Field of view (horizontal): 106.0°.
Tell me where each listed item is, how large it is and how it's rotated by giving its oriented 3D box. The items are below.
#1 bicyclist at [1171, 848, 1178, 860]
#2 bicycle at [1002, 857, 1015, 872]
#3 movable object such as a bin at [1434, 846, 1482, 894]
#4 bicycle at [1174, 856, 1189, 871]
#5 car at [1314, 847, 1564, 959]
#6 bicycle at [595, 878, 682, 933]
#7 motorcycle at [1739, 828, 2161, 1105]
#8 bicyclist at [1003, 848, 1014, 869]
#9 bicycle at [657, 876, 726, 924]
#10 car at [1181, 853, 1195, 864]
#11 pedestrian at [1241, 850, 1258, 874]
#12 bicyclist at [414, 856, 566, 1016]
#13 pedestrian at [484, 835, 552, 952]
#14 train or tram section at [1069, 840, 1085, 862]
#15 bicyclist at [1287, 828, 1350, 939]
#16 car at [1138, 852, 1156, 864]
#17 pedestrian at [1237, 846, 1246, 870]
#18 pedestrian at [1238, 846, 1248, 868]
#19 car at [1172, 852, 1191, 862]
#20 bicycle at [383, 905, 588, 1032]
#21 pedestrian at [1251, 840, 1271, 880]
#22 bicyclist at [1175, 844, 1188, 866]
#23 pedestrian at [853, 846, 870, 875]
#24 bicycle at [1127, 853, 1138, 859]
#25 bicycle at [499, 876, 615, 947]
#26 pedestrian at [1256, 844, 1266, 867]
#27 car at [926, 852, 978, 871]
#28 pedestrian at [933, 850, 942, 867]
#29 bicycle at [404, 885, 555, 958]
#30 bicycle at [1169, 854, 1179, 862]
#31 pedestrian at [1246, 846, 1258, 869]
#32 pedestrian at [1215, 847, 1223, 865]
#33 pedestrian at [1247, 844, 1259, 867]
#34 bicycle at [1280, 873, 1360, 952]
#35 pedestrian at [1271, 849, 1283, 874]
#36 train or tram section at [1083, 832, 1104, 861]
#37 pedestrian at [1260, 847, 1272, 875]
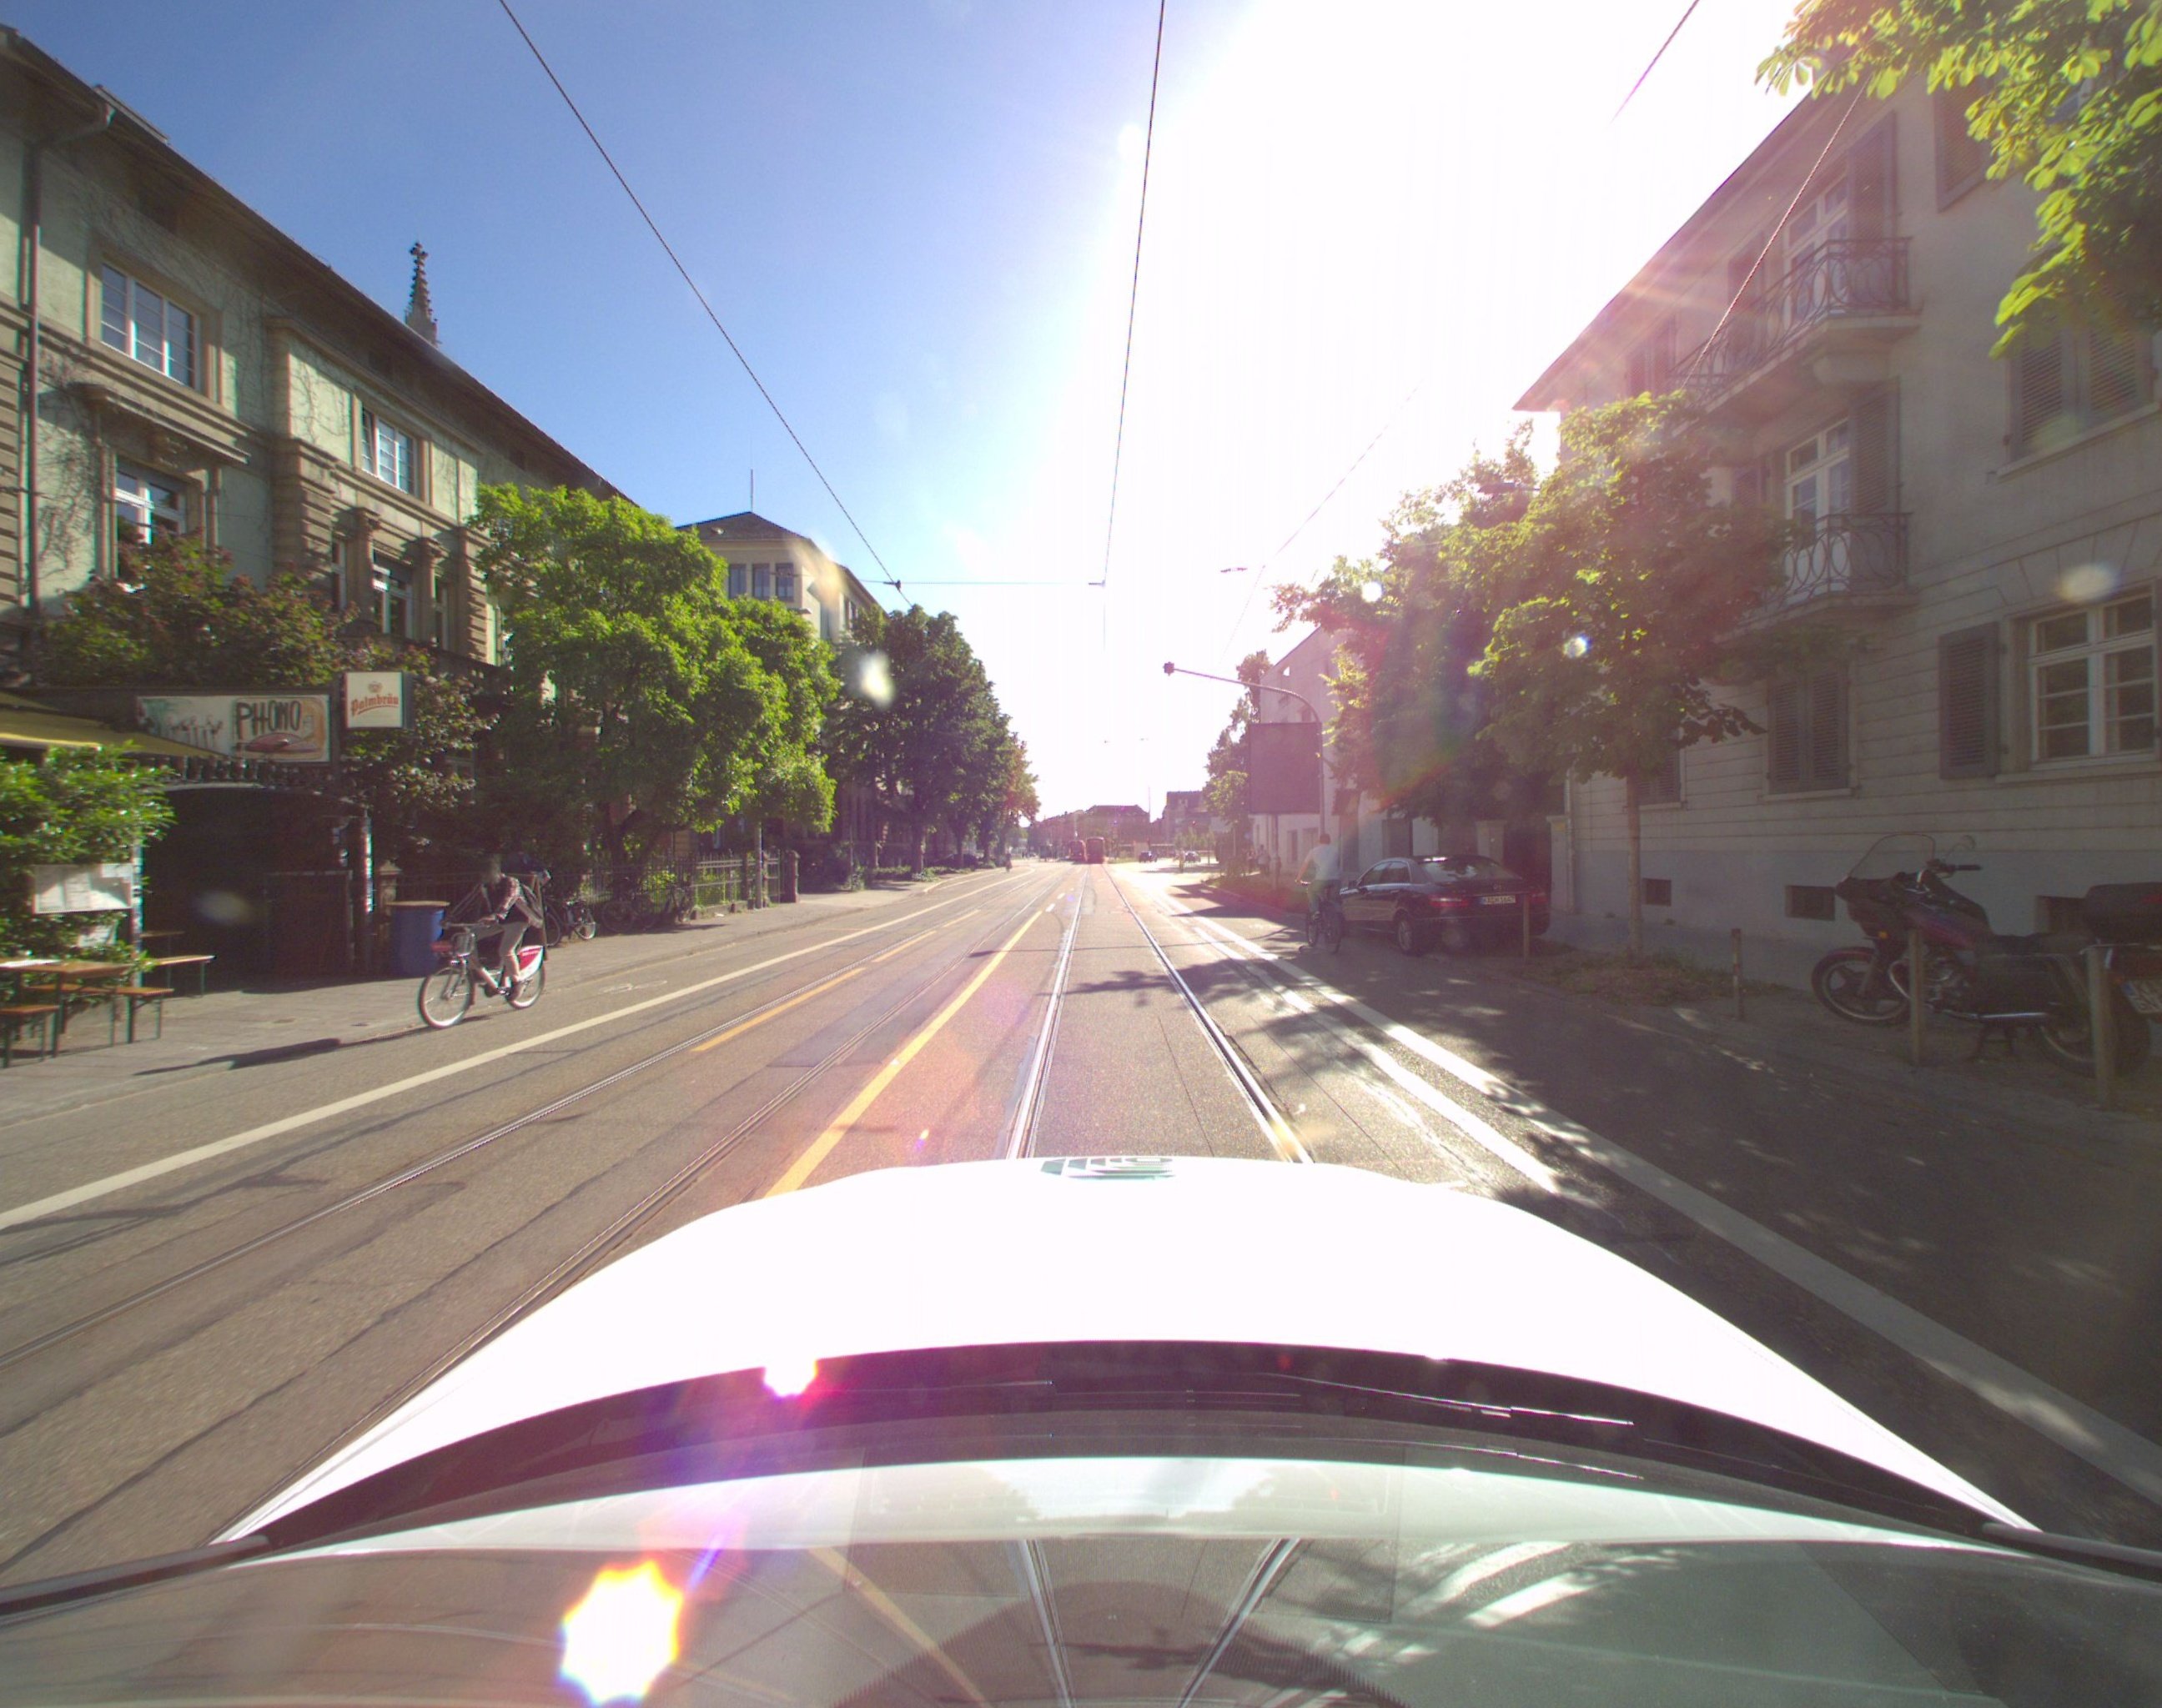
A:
[{"bbox_3d":[13.386,-0.039,116.616,0.698,1.700,0.993,2,1,25],"label":"bicyclist"},{"bbox_3d":[-5.792,0.835,65.358,0.683,1.124,1.934,-2,0,5],"label":"bicycle"},{"bbox_3d":[11.888,0.486,25.716,0.929,1.463,1.356,0,0,2],"label":"movable object such as a bin"},{"bbox_3d":[7.479,0.696,60.812,0.699,1.104,1.726,2,1,20],"label":"bicycle"},{"bbox_3d":[5.581,0.667,13.512,1.817,1.458,4.813,-2,0,-3],"label":"car"},{"bbox_3d":[-9.473,1.075,17.516,0.586,1.045,1.909,1,0,9],"label":"bicycle"},{"bbox_3d":[6.171,0.603,5.753,0.910,1.488,2.681,-2,0,2],"label":"motorcycle"},{"bbox_3d":[-5.811,0.366,65.342,0.683,1.644,1.239,-2,0,5],"label":"bicyclist"},{"bbox_3d":[-9.343,1.076,19.602,0.587,1.045,1.907,1,0,4],"label":"bicycle"},{"bbox_3d":[15.148,0.635,114.976,1.778,1.511,3.723,1,0,10],"label":"car"},{"bbox_3d":[11.742,0.542,56.761,0.849,1.641,1.000,-2,-2,36],"label":"pedestrian"},{"bbox_3d":[-6.402,0.839,8.892,0.742,1.599,1.118,-3,0,2],"label":"bicyclist"},{"bbox_3d":[-9.122,0.618,13.210,0.571,1.831,0.693,0,0,20],"label":"pedestrian"},{"bbox_3d":[-0.660,-0.586,140.608,2.733,3.651,13.784,0,0,0],"label":"train or tram section"},{"bbox_3d":[3.758,0.451,12.958,0.735,1.686,0.972,1,0,2],"label":"bicyclist"},{"bbox_3d":[9.236,0.486,113.806,1.775,1.604,3.729,1,0,17],"label":"car"},{"bbox_3d":[12.320,0.300,62.642,0.491,1.728,0.820,-5,-1,16],"label":"pedestrian"},{"bbox_3d":[13.110,0.223,65.889,0.603,1.746,0.719,-4,0,9],"label":"pedestrian"},{"bbox_3d":[16.843,0.554,136.361,1.685,1.643,3.736,1,0,36],"label":"car"},{"bbox_3d":[-6.385,1.179,8.891,0.742,1.082,1.900,-3,0,2],"label":"bicycle"},{"bbox_3d":[8.461,0.273,38.228,0.681,1.849,0.955,-2,0,-1],"label":"pedestrian"},{"bbox_3d":[7.494,0.074,60.807,0.699,1.675,1.107,2,0,20],"label":"bicyclist"},{"bbox_3d":[-13.669,0.398,50.804,0.726,1.797,0.781,3,0,4],"label":"pedestrian"},{"bbox_3d":[9.902,0.422,156.463,1.928,1.103,0.598,0,0,-2],"label":"bicycle"},{"bbox_3d":[-9.593,1.013,15.004,0.642,1.143,1.909,2,0,9],"label":"bicycle"},{"bbox_3d":[14.352,0.087,65.019,0.605,1.774,0.656,-5,-1,17],"label":"pedestrian"},{"bbox_3d":[-10.862,0.669,68.615,4.008,1.550,1.861,1,0,-27],"label":"car"},{"bbox_3d":[-14.060,0.416,79.675,0.698,1.635,0.759,2,0,0],"label":"pedestrian"},{"bbox_3d":[-9.929,1.072,13.552,0.632,1.045,2.031,0,0,17],"label":"bicycle"},{"bbox_3d":[13.376,0.528,116.640,0.698,1.055,2.327,2,1,25],"label":"bicycle"},{"bbox_3d":[13.106,0.268,62.439,0.642,1.763,0.960,-5,-1,15],"label":"pedestrian"},{"bbox_3d":[14.829,0.210,87.243,0.635,1.904,1.135,-2,0,2],"label":"pedestrian"},{"bbox_3d":[13.850,0.148,65.599,0.523,1.774,0.740,-5,-1,41],"label":"pedestrian"},{"bbox_3d":[3.750,0.881,12.968,0.735,1.094,2.113,1,0,3],"label":"bicycle"},{"bbox_3d":[11.339,0.435,47.174,0.515,1.404,0.765,-1,0,4],"label":"pedestrian"},{"bbox_3d":[1.615,-1.038,111.218,2.733,3.651,13.784,0,0,0],"label":"train or tram section"},{"bbox_3d":[10.743,0.392,47.319,0.515,1.600,0.765,-1,0,4],"label":"pedestrian"}]
